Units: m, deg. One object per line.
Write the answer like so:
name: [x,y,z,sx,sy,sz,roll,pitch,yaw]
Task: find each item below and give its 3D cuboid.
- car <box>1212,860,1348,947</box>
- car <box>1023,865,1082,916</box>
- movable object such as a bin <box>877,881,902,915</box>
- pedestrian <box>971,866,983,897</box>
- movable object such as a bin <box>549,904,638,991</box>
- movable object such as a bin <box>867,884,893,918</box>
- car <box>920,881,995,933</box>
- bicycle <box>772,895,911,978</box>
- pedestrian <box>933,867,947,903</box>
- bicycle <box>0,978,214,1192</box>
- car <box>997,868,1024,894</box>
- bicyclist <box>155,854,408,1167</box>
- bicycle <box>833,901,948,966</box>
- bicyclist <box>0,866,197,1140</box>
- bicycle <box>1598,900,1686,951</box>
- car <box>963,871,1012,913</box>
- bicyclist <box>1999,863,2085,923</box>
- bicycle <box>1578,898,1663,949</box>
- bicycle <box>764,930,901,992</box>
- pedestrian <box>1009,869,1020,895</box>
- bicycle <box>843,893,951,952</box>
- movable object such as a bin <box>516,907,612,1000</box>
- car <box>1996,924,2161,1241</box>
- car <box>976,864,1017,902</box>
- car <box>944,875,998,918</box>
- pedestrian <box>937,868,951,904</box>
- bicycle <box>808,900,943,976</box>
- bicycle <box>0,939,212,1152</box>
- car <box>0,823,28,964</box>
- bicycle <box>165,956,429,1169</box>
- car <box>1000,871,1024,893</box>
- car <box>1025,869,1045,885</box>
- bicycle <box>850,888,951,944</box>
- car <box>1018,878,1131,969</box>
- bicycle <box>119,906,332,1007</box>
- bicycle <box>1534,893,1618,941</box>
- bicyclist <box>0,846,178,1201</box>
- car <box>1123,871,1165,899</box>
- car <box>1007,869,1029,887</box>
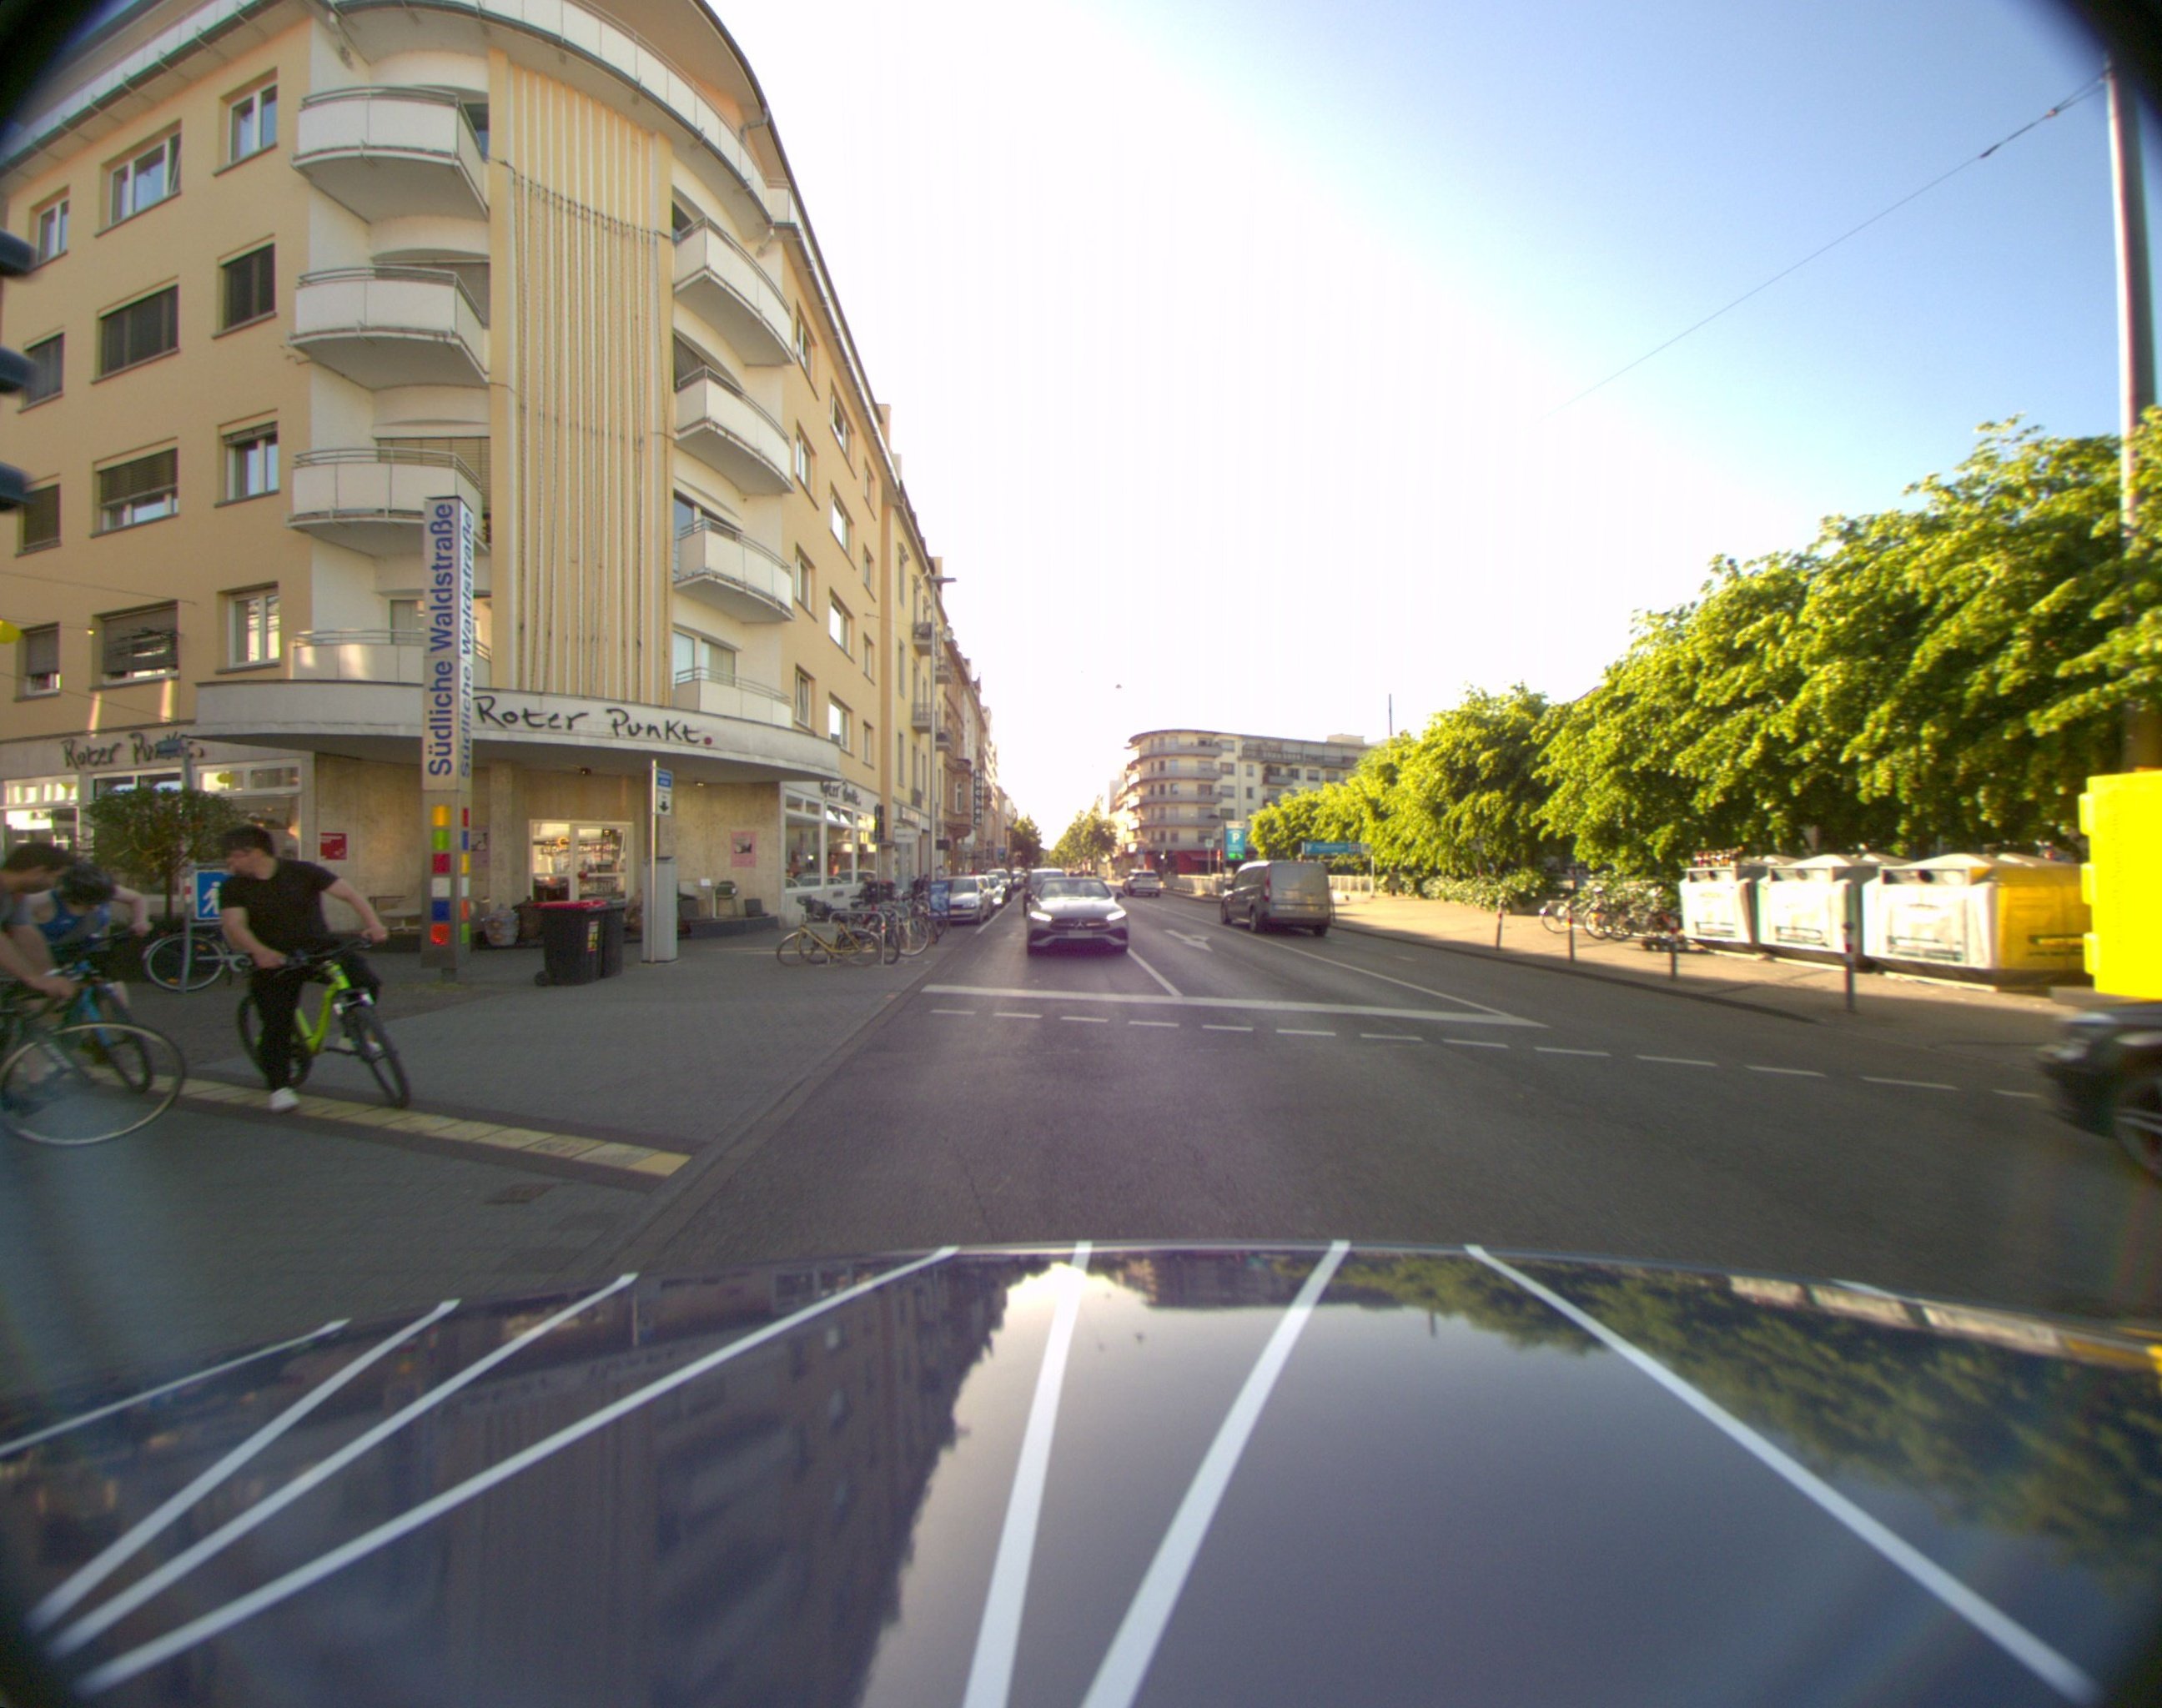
car: [5.056,1.204,20.083,1.999,1.935,4.782,3,-1,-3]
car: [-1.037,1.269,27.700,1.999,1.717,4.000,0,-1,-2]
movable object such as a bin: [-7.241,1.650,28.769,0.703,1.232,0.960,0,-1,-2]
pedestrian: [-6.427,1.703,46.868,0.695,1.895,0.906,0,-1,-6]
movable object such as a bin: [-6.614,1.255,10.334,0.810,1.106,0.620,0,0,-4]
movable object such as a bin: [-7.147,1.651,27.003,0.703,1.153,0.960,0,-1,-2]
car: [-3.652,1.542,23.093,1.693,1.389,4.000,0,-1,-1]
bicycle: [-3.734,1.275,12.028,1.947,1.204,0.933,1,-1,-8]
pedestrian: [-7.676,1.674,41.424,0.673,1.941,0.615,0,-1,-6]
bicycle: [-5.987,1.228,4.002,1.823,0.988,0.564,0,-1,-19]
car: [-5.448,2.072,59.400,1.999,2.001,4.191,0,-1,-4]
bicyclist: [-4.867,0.849,4.640,1.129,1.675,0.727,0,-1,25]
bicycle: [-3.555,1.484,14.290,1.962,1.150,0.755,0,-1,-2]
bicyclist: [-6.512,0.869,4.891,1.028,1.574,0.727,0,-1,19]
bicycle: [11.334,1.442,15.364,1.560,0.996,0.364,0,-1,-3]
car: [-4.084,1.626,33.702,1.999,1.724,4.198,0,-1,-5]
bicyclist: [26.269,1.051,20.797,0.941,1.599,1.172,0,-1,16]
bicycle: [11.247,1.448,15.845,1.550,1.025,0.364,0,-1,-3]
bicycle: [-3.705,1.597,11.458,1.848,0.826,0.741,1,-1,-8]
pedestrian: [-4.851,2.014,55.282,0.610,1.911,0.714,0,-1,10]
bicycle: [-3.739,1.388,15.597,2.027,1.143,0.715,1,-1,-2]
movable object such as a bin: [-6.563,1.242,9.676,0.810,1.106,0.620,0,0,-4]
car: [5.973,1.088,2.047,1.754,1.415,4.254,3,-1,-3]
car: [-4.500,1.490,39.901,2.000,1.867,3.998,0,-1,-9]
car: [-3.957,1.490,27.816,1.742,1.416,3.999,0,-1,-5]
pedestrian: [-7.334,1.687,40.694,0.695,1.895,0.906,0,-1,-6]
bicycle: [-3.479,1.419,13.026,2.143,1.236,0.710,0,-1,-7]
bicycle: [-6.766,1.161,4.961,1.916,1.090,0.734,0,-1,18]
car: [-21.197,0.725,13.178,4.686,2.454,2.072,-1,1,19]
bicycle: [-4.989,1.228,4.809,1.911,1.013,0.561,-1,-1,25]
car: [-5.889,2.390,65.356,1.999,1.851,3.999,0,-1,-4]
car: [-4.946,2.495,81.957,1.999,1.717,4.000,0,-1,-2]
bicycle: [-3.930,1.355,16.659,2.049,1.174,0.683,0,-1,-2]
car: [-0.140,1.266,15.259,1.910,1.453,4.364,-2,-1,-1]
bicycle: [-10.901,1.263,9.781,0.560,1.082,1.752,0,-1,13]
bicycle: [11.232,1.442,17.266,1.529,1.024,0.364,-3,-1,12]
bicyclist: [-5.806,0.843,3.986,1.143,1.750,0.752,0,-1,-21]
car: [3.751,1.808,45.584,1.846,1.537,4.239,2,-1,-4]
car: [-6.270,2.394,75.996,1.999,1.717,4.000,0,-1,-2]
